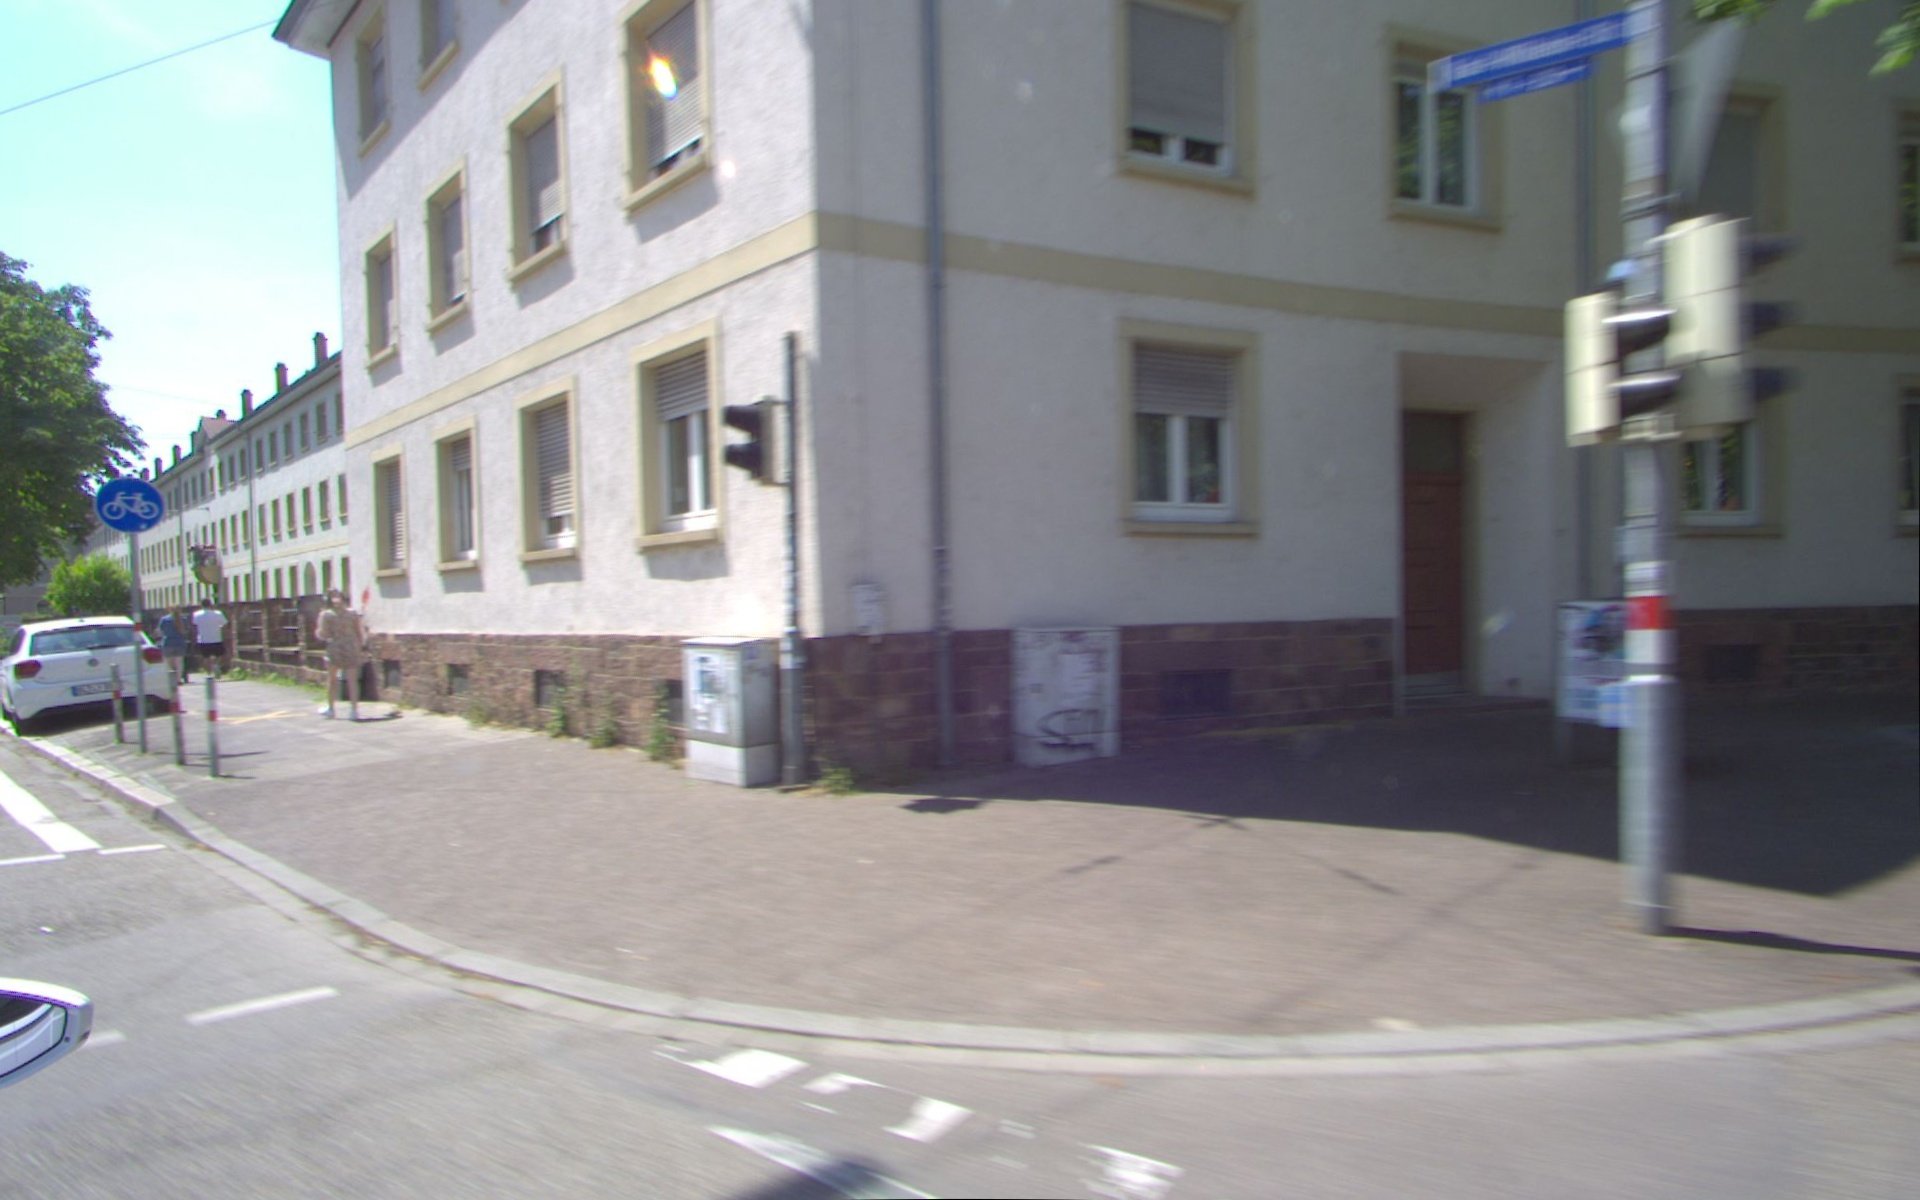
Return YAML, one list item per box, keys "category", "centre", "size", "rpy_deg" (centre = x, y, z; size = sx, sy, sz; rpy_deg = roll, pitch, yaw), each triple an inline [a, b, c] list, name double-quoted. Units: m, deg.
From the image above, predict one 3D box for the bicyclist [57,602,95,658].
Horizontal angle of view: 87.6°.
- category: "bicyclist"
  centre: [-23.624, 0.791, 26.768]
  size: [0.706, 1.471, 1.000]
  rpy_deg: [-1, 1, -44]

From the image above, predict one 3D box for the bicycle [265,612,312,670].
- category: "bicycle"
  centre: [-14.547, 0.869, 21.688]
  size: [0.592, 1.191, 1.737]
  rpy_deg: [-2, 1, -42]

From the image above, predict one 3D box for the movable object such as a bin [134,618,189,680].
- category: "movable object such as a bin"
  centre: [-16.538, 0.989, 20.740]
  size: [1.025, 1.202, 0.693]
  rpy_deg: [-1, 3, 43]

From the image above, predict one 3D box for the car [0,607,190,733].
- category: "car"
  centre: [-12.828, 0.919, 14.636]
  size: [4.112, 1.430, 1.766]
  rpy_deg: [-1, 4, 43]

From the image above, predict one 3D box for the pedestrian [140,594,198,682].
- category: "pedestrian"
  centre: [-15.857, 0.740, 20.075]
  size: [0.860, 1.692, 0.693]
  rpy_deg: [0, 3, 43]

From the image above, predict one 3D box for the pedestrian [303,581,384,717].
- category: "pedestrian"
  centre: [-7.983, 0.618, 12.962]
  size: [0.748, 1.692, 0.693]
  rpy_deg: [0, 1, 43]

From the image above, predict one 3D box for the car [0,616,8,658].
- category: "car"
  centre: [-37.323, 1.387, 37.810]
  size: [3.955, 1.535, 1.648]
  rpy_deg: [-1, 0, 42]

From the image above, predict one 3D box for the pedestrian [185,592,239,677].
- category: "pedestrian"
  centre: [-15.637, 0.706, 20.931]
  size: [0.748, 1.692, 0.693]
  rpy_deg: [0, 3, 43]
